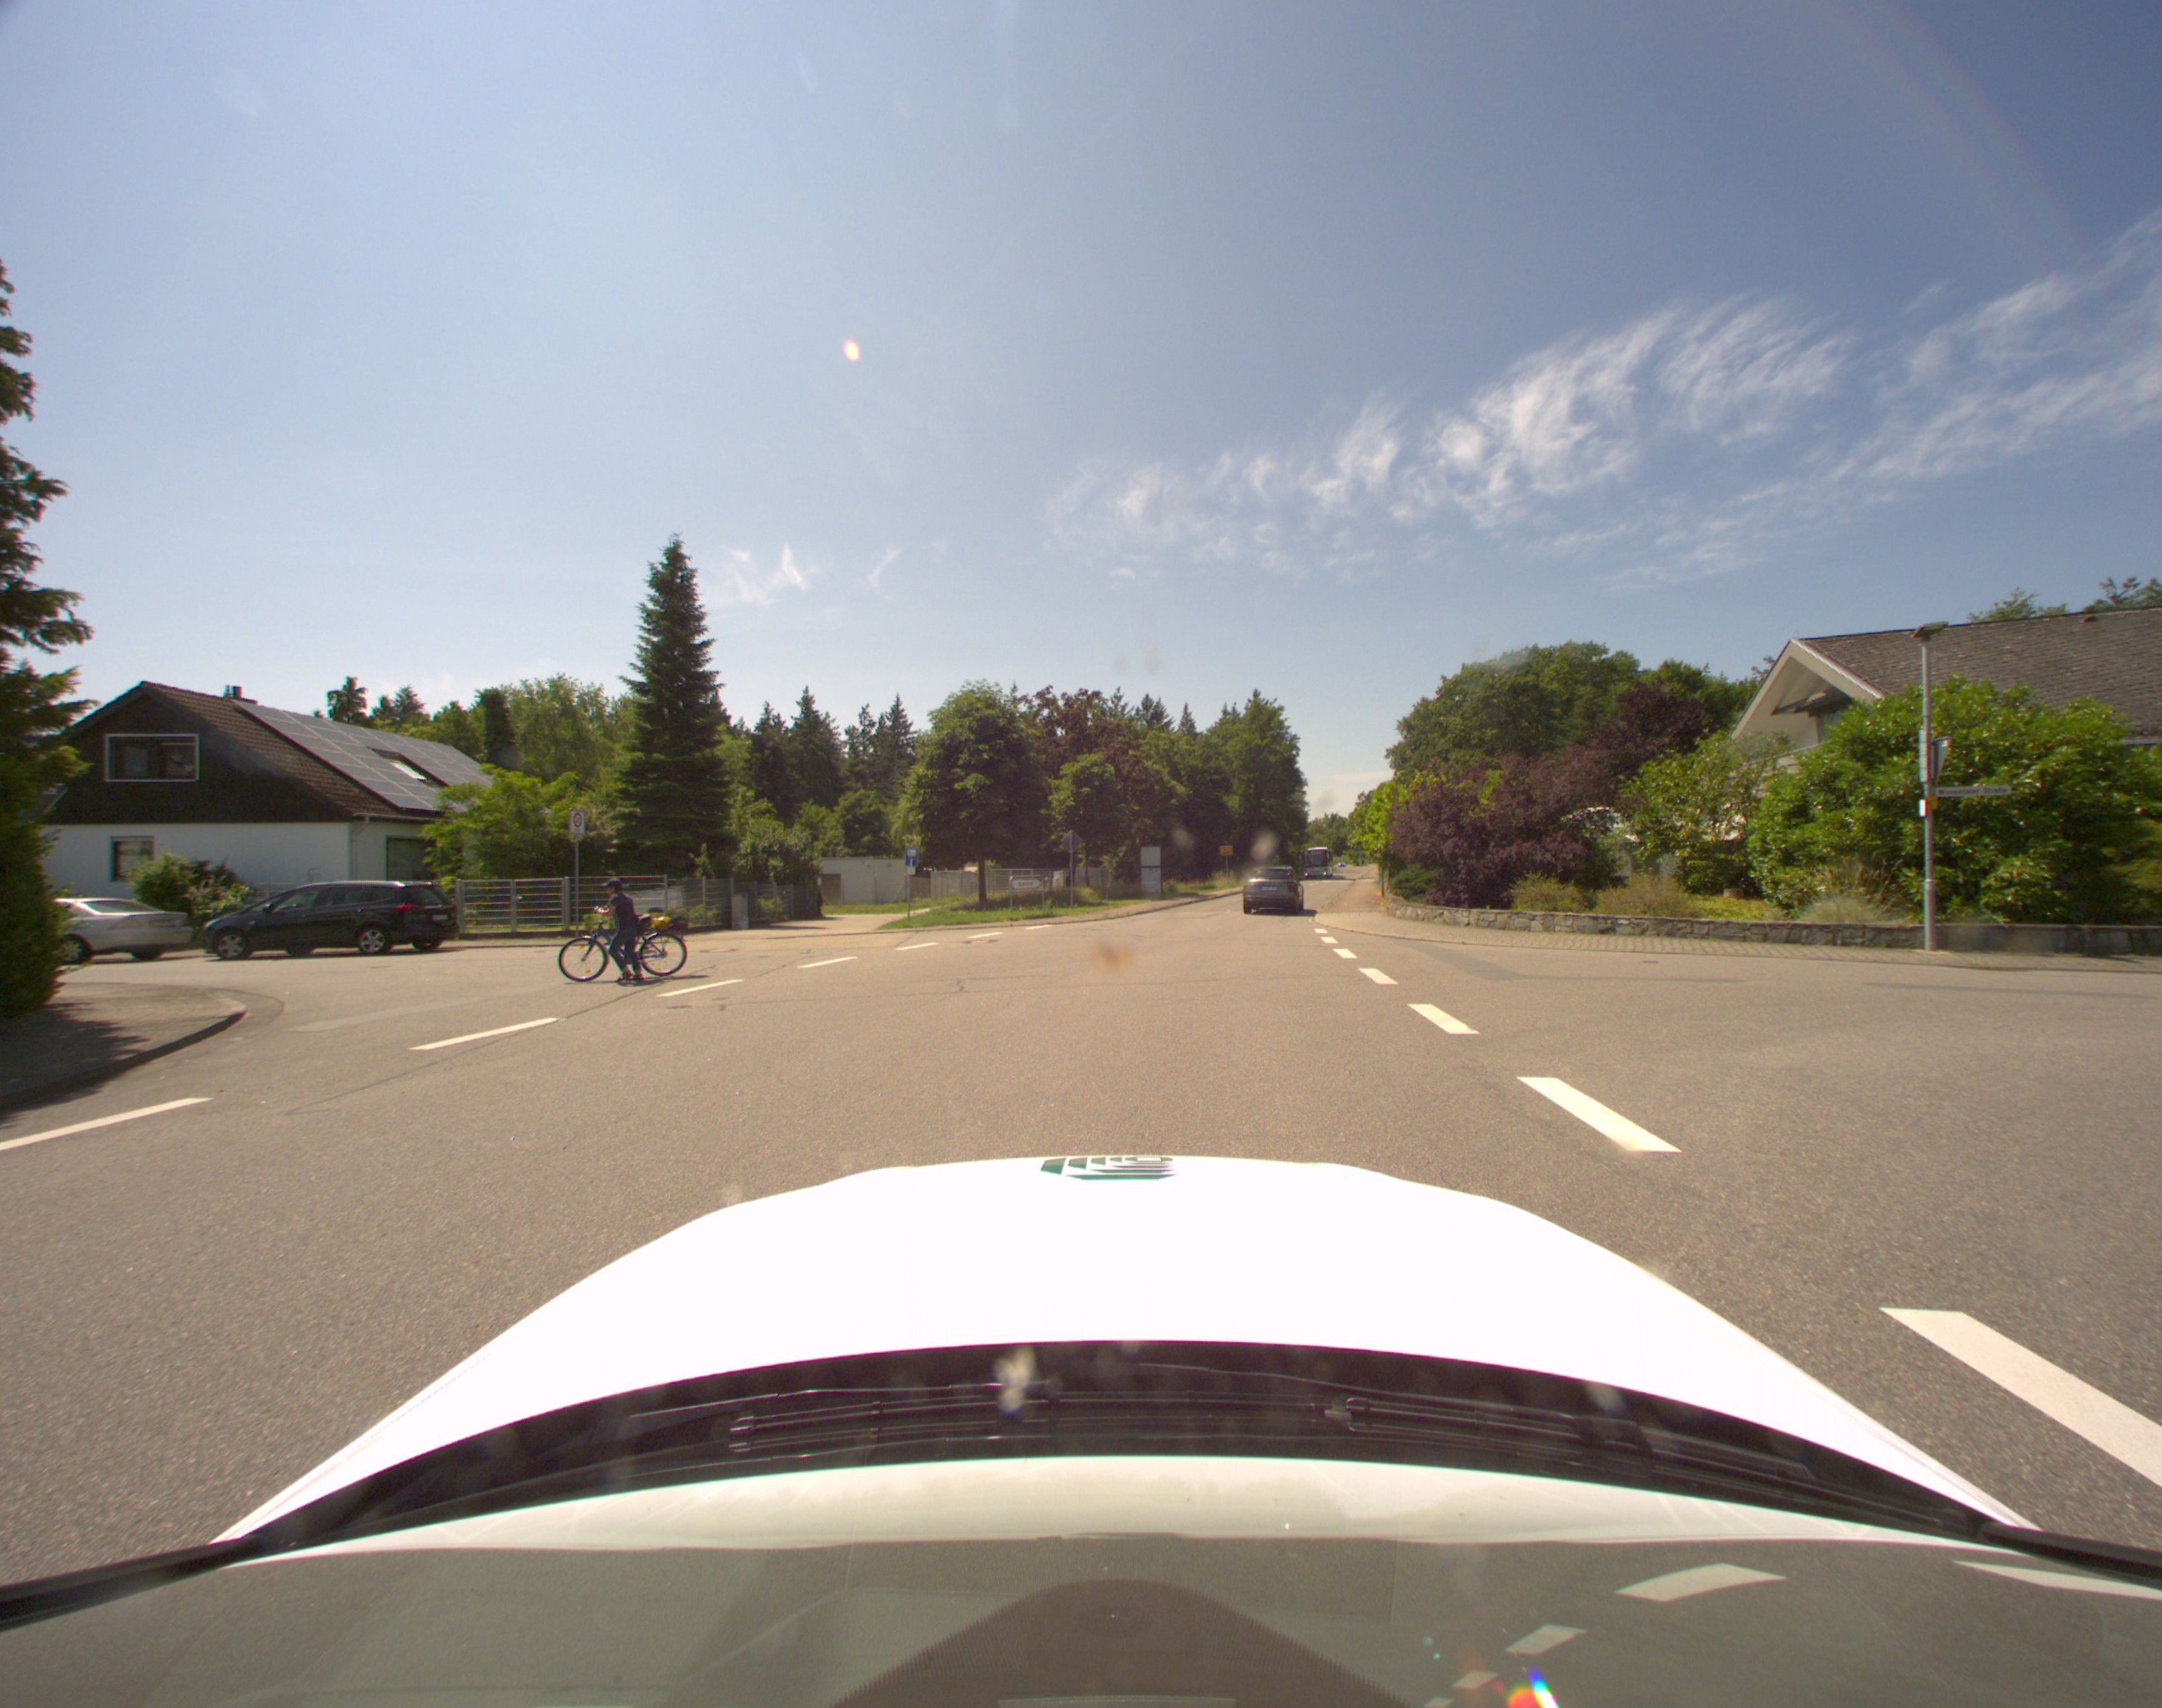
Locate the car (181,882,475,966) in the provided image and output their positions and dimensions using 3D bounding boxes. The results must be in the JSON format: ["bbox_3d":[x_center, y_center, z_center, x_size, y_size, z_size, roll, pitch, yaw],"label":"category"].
[{"bbox_3d":[-16.960,1.525,18.586,4.659,1.662,1.966,-1,-1,-5],"label":"car"}]

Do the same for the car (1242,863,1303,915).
[{"bbox_3d":[6.579,1.139,27.726,1.748,1.618,4.017,0,-1,17],"label":"car"}]

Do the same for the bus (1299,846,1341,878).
[{"bbox_3d":[26.656,0.909,90.386,3.154,3.244,12.778,-2,-1,22],"label":"bus"}]

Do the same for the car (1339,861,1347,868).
[{"bbox_3d":[68.046,2.725,211.541,1.936,1.860,4.017,-1,-1,16],"label":"car"}]

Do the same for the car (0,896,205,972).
[{"bbox_3d":[-22.536,1.747,17.958,4.316,1.460,1.689,-1,-1,-5],"label":"car"}]

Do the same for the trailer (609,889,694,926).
[{"bbox_3d":[-13.928,1.713,26.494,2.218,1.084,1.101,-1,-1,-14],"label":"trailer"}]

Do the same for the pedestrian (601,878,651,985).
[{"bbox_3d":[-6.639,1.103,11.875,0.614,1.501,0.499,0,-2,-31],"label":"pedestrian"}]

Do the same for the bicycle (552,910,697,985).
[{"bbox_3d":[-6.801,1.369,12.189,1.854,0.964,0.439,-1,-1,-31],"label":"bicycle"}]
